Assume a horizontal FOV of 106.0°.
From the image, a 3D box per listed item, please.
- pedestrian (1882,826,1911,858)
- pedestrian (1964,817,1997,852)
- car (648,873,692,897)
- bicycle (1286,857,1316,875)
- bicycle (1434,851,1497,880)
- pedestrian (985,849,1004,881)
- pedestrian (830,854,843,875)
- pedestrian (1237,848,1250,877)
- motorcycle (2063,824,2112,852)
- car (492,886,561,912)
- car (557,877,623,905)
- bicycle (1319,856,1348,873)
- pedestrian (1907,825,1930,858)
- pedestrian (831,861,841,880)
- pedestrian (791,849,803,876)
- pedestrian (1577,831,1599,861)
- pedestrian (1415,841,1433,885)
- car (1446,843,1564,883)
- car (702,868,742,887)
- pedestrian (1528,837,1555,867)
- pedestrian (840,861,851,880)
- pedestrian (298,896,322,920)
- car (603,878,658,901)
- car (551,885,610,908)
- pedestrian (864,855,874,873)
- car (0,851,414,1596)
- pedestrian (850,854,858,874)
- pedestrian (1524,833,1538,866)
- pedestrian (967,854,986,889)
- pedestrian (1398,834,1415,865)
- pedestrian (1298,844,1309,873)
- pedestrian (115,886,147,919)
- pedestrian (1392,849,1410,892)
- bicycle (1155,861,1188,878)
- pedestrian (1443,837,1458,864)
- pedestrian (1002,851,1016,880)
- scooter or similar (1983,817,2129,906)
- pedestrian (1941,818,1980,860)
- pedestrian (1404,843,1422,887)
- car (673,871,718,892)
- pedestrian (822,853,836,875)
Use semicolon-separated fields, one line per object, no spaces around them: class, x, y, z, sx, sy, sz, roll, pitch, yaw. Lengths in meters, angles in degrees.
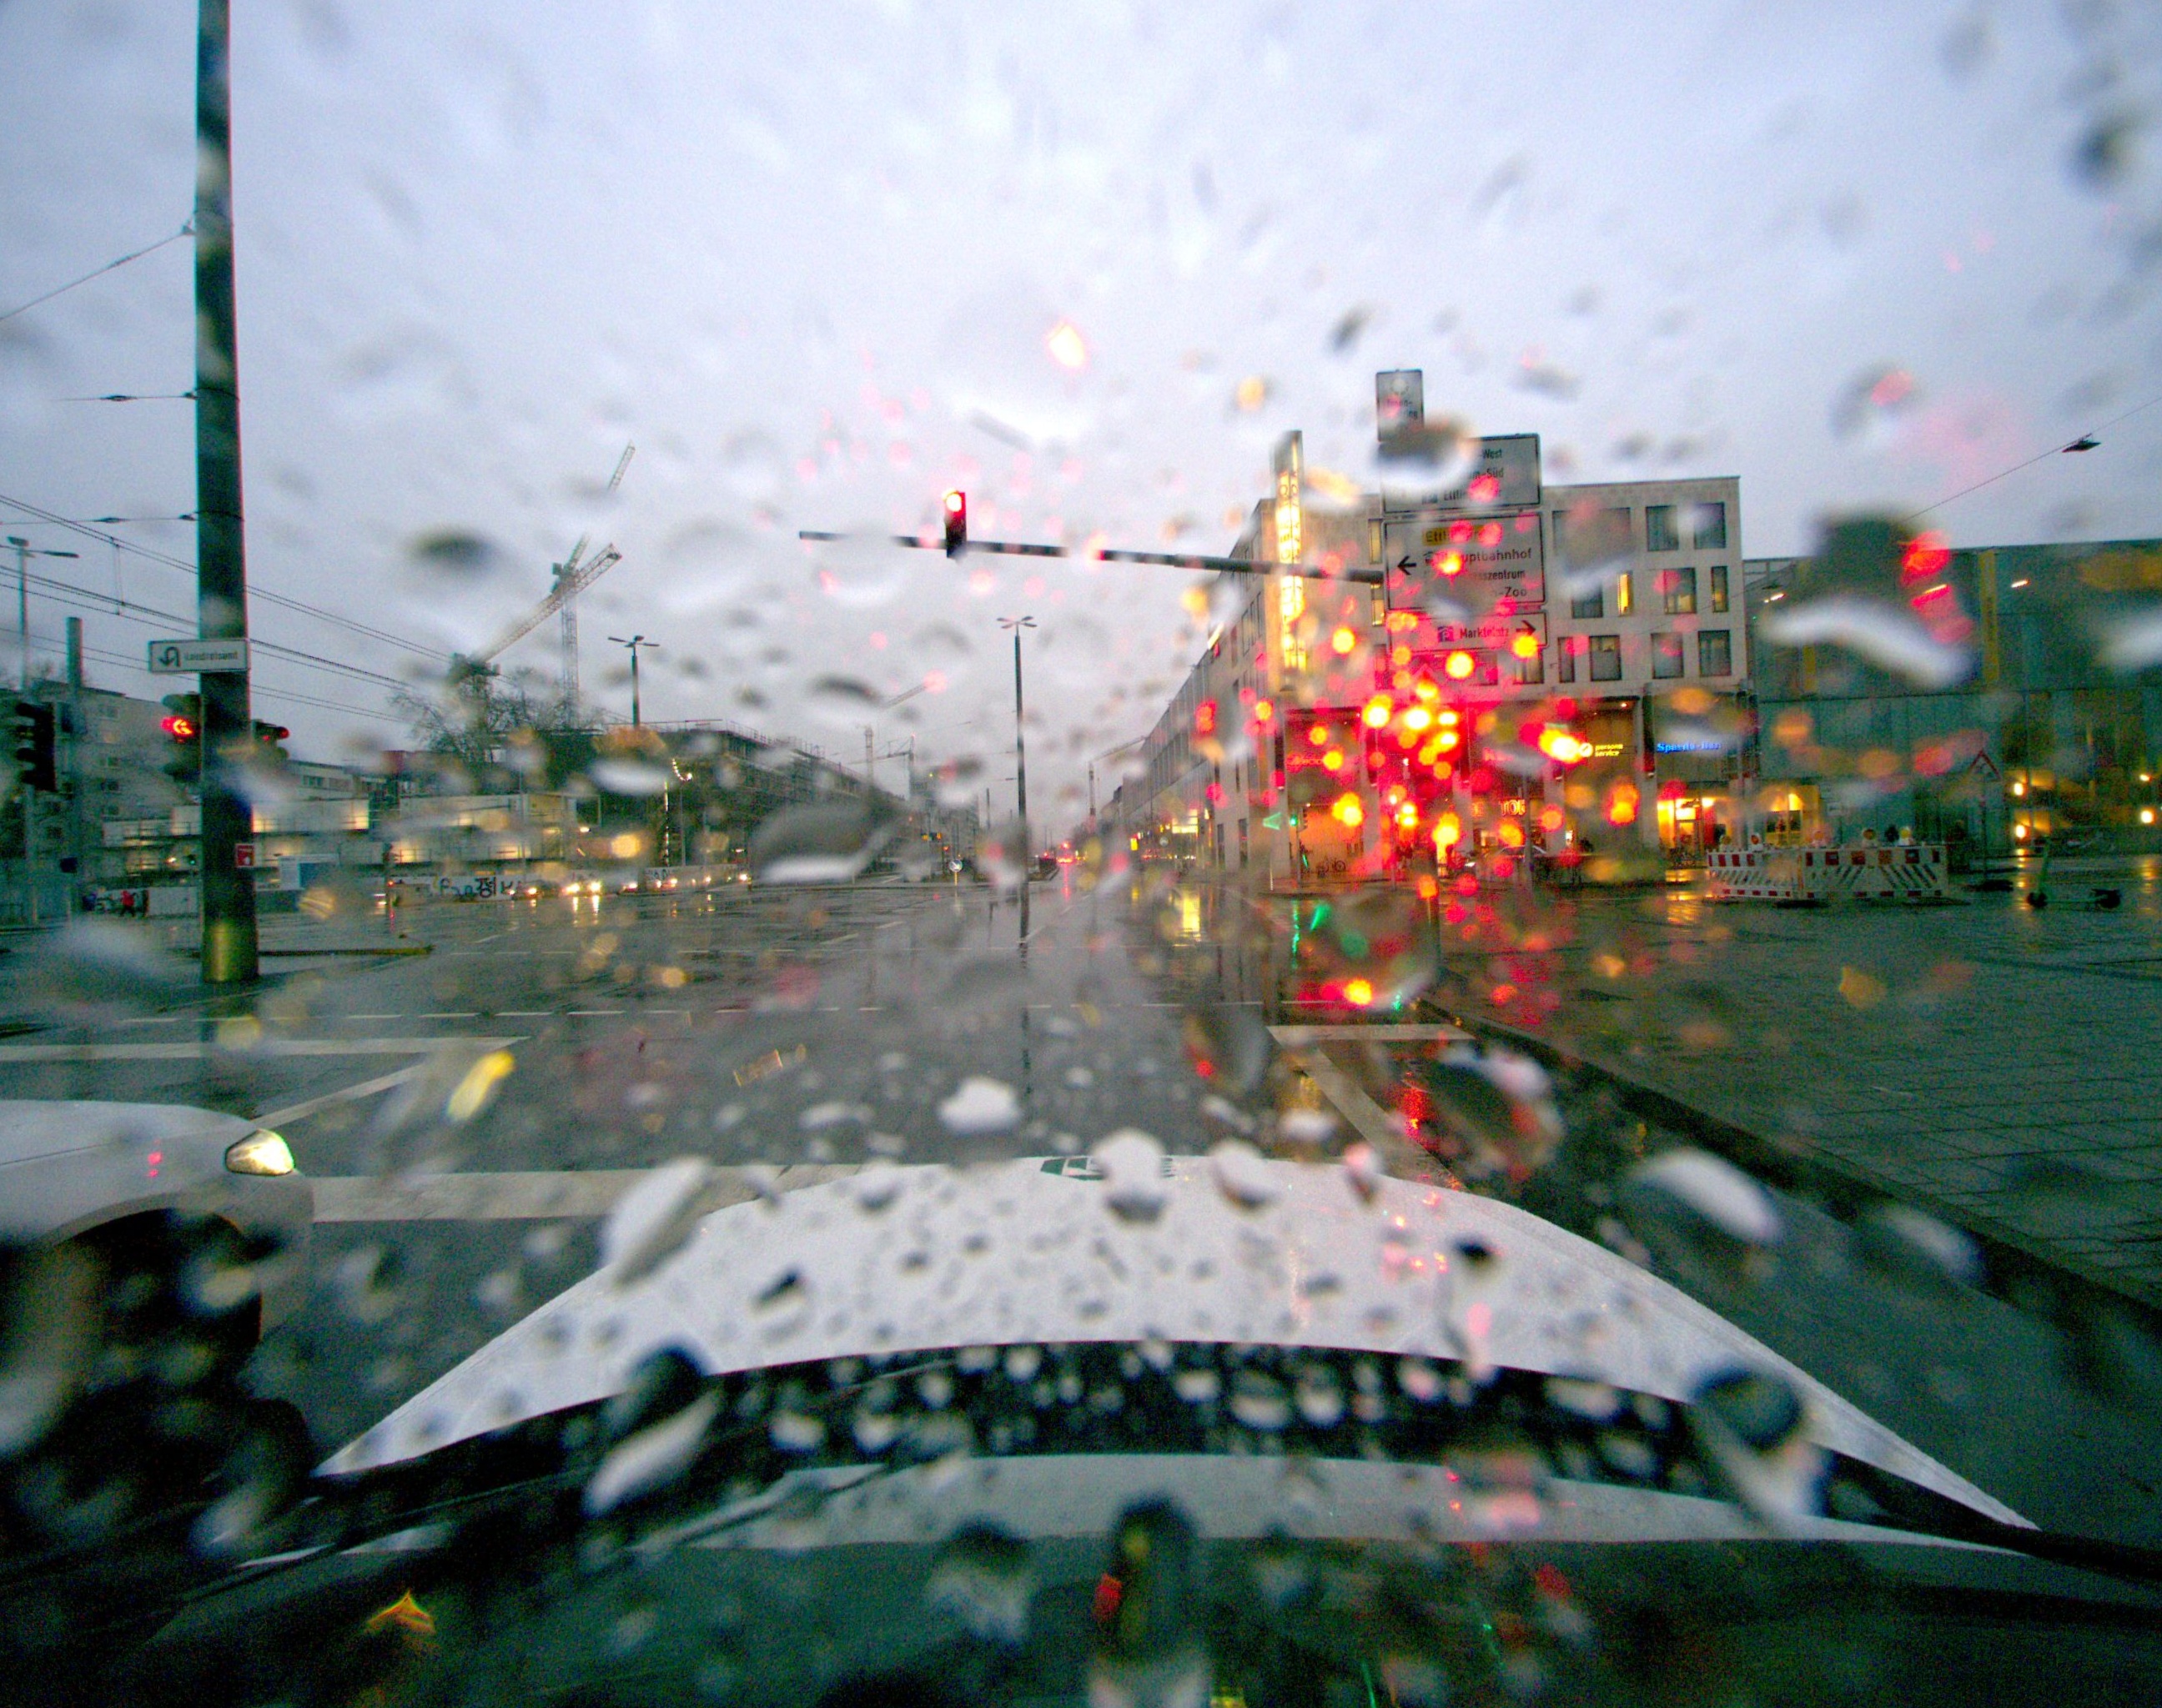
pedestrian;43.235;-0.612;43.166;0.737;1.684;0.783;0;-1;8
pedestrian;44.113;-0.957;39.938;0.737;1.684;0.783;0;-1;8
car;-34.546;2.594;68.561;1.862;1.828;3.993;0;-1;-5
bicycle;13.652;0.735;50.511;1.765;1.070;0.523;0;-1;-7
bicycle;19.249;0.578;40.787;2.705;1.359;0.957;-2;-1;-2
pedestrian;-4.986;0.632;46.756;0.826;1.831;0.778;0;-1;-29
pedestrian;-23.780;1.041;79.090;0.939;2.014;1.094;0;-1;0
pedestrian;9.807;0.512;49.107;0.634;1.709;0.574;-2;-1;1
motorcycle;48.111;-0.755;38.938;1.482;1.352;0.595;0;0;5
car;-38.665;3.122;56.911;1.986;1.530;4.001;-2;0;2
car;-33.801;2.522;56.239;1.986;1.657;4.001;-2;0;2
bicycle;15.694;0.653;50.596;1.642;1.070;0.524;0;-1;-2
pedestrian;42.298;-0.621;41.143;0.539;1.684;0.583;0;-1;8
pedestrian;-23.453;1.580;77.935;0.696;1.881;0.553;0;-1;1
pedestrian;-24.218;0.715;69.475;0.762;2.323;0.763;0;-2;1
pedestrian;29.370;-0.434;47.155;0.890;1.684;0.528;-2;-1;1
pedestrian;19.580;0.514;46.467;0.691;2.448;0.792;0;-1;1
car;17.940;0.367;34.599;3.970;1.618;2.001;0;-1;3
car;-35.107;2.280;79.690;1.985;1.790;4.003;0;-1;3
pedestrian;25.645;-0.117;45.391;1.026;1.684;0.824;0;-1;1
pedestrian;-23.169;1.621;80.147;0.762;1.898;0.763;0;-2;1
pedestrian;-47.126;3.301;49.813;0.725;1.388;0.725;-3;-1;4
car;-34.281;2.638;62.078;2.074;1.530;4.603;-2;0;-8
car;-39.029;3.295;63.585;1.986;1.530;4.001;-2;0;2
pedestrian;-24.025;1.148;92.114;0.941;2.014;1.091;0;-1;-7
car;-3.210;0.768;0.333;2.010;1.487;4.561;-2;0;1
pedestrian;-22.764;1.010;81.604;0.569;1.968;0.664;1;-1;-4
pedestrian;25.739;-0.266;46.554;0.549;1.826;0.361;-2;-1;2
pedestrian;-6.124;1.021;47.682;0.776;2.014;0.732;-1;-1;44
pedestrian;21.554;-0.285;53.926;0.841;2.013;0.700;-2;0;10
pedestrian;13.606;0.272;49.816;0.596;1.745;0.526;-1;-1;10
pedestrian;-57.873;2.961;49.628;0.921;1.934;0.816;0;-1;-5
pedestrian;17.994;0.929;45.856;0.712;2.441;0.758;0;-1;1
bicycle;6.830;1.159;61.577;2.434;1.154;0.674;-2;-1;0
pedestrian;23.608;-0.222;52.039;0.728;1.718;0.743;-3;-1;29
pedestrian;-4.279;0.683;48.219;0.605;1.686;0.581;-1;-1;44
scooter or similar;15.685;0.116;13.156;0.590;1.352;1.495;0;0;2
pedestrian;36.018;-0.592;33.351;0.737;1.684;0.783;0;-1;8
pedestrian;18.756;0.622;46.016;0.687;2.441;0.758;0;-1;1
car;-35.039;2.449;74.134;1.985;1.790;4.003;0;-1;3
pedestrian;-23.798;0.924;76.836;0.939;2.014;1.094;0;-1;1
